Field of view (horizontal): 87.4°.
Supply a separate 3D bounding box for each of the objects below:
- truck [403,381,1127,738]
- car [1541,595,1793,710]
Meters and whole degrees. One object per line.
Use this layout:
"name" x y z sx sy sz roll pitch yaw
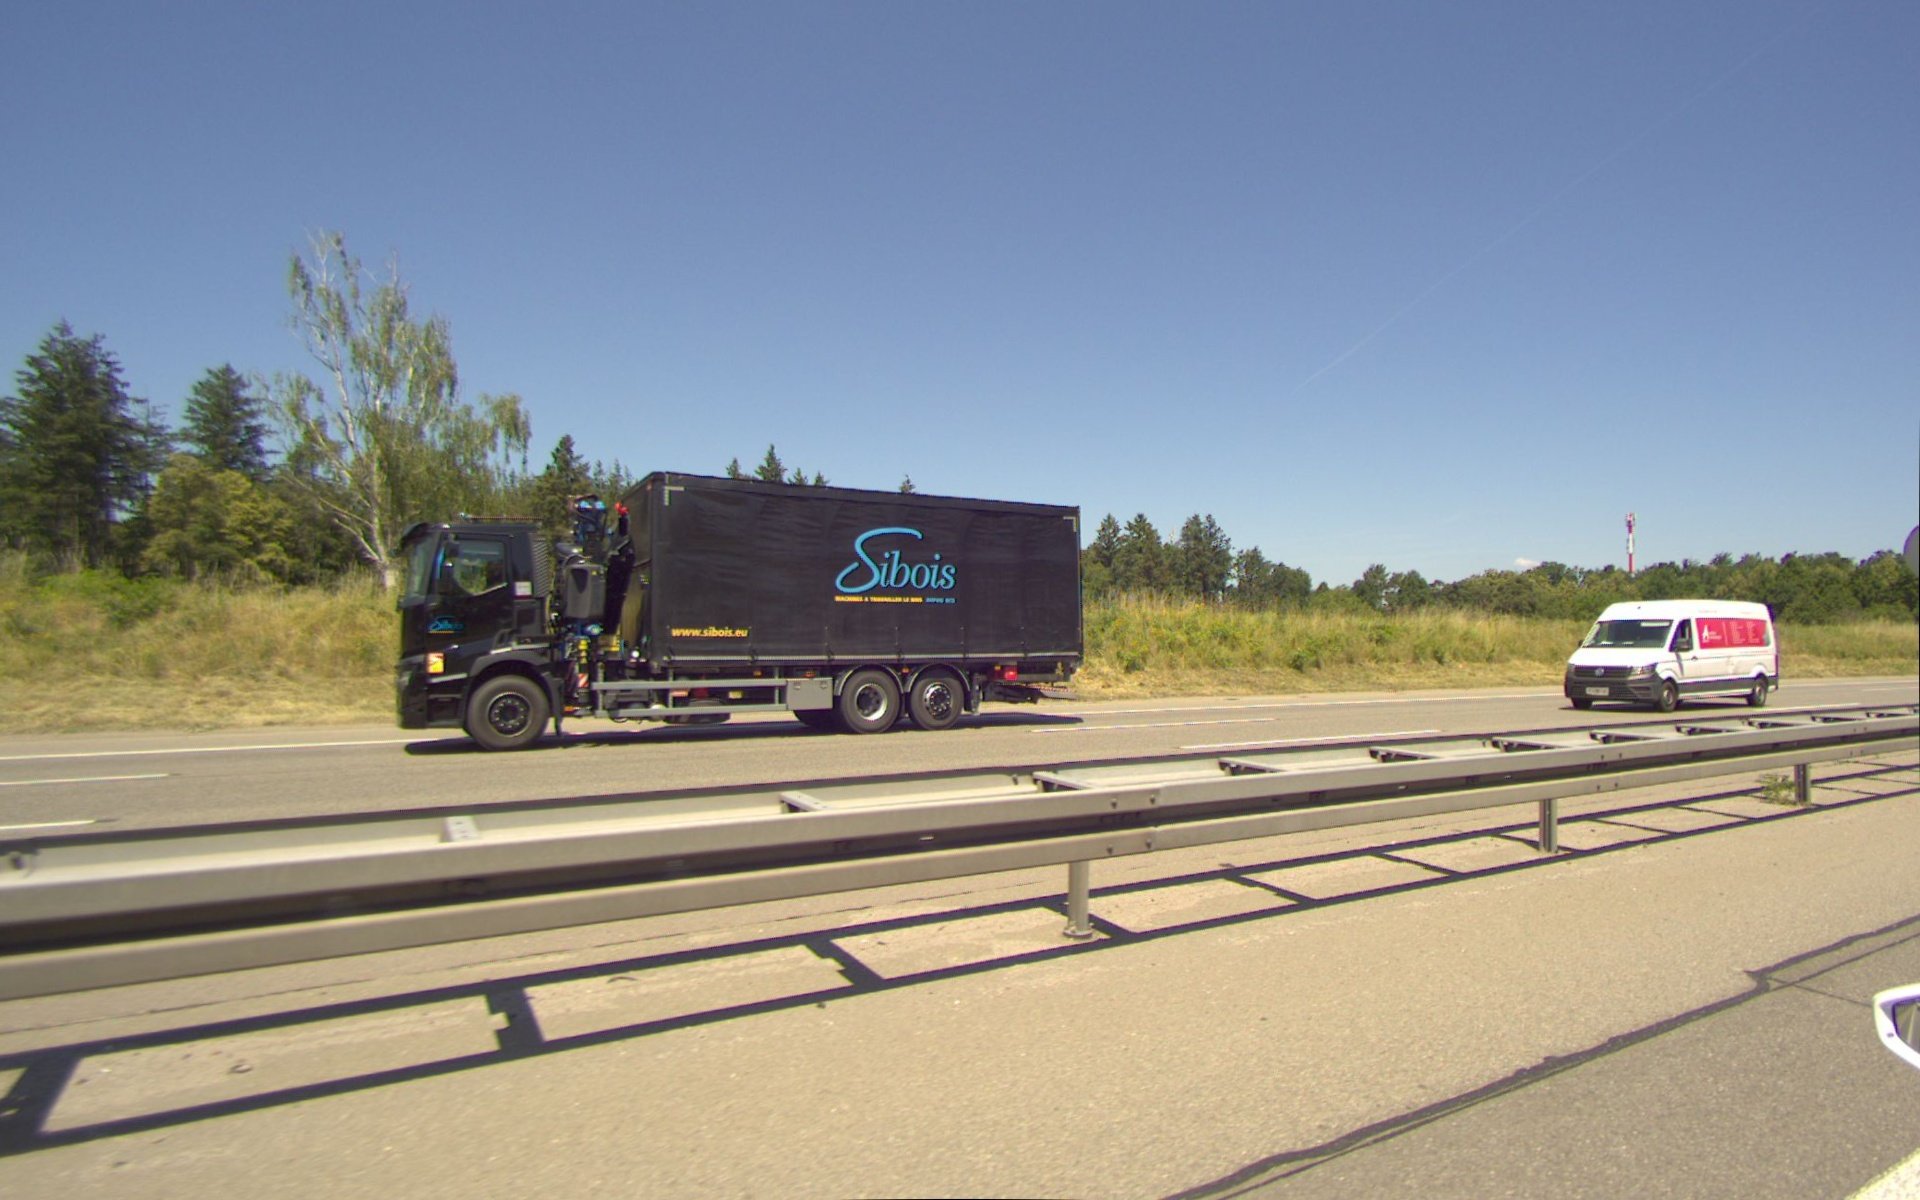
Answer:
"truck" -2.835 -0.296 17.638 12.044 4.685 3.362 2 -4 -30
"car" 17.429 1.278 24.632 7.050 2.480 2.353 2 -3 -31
